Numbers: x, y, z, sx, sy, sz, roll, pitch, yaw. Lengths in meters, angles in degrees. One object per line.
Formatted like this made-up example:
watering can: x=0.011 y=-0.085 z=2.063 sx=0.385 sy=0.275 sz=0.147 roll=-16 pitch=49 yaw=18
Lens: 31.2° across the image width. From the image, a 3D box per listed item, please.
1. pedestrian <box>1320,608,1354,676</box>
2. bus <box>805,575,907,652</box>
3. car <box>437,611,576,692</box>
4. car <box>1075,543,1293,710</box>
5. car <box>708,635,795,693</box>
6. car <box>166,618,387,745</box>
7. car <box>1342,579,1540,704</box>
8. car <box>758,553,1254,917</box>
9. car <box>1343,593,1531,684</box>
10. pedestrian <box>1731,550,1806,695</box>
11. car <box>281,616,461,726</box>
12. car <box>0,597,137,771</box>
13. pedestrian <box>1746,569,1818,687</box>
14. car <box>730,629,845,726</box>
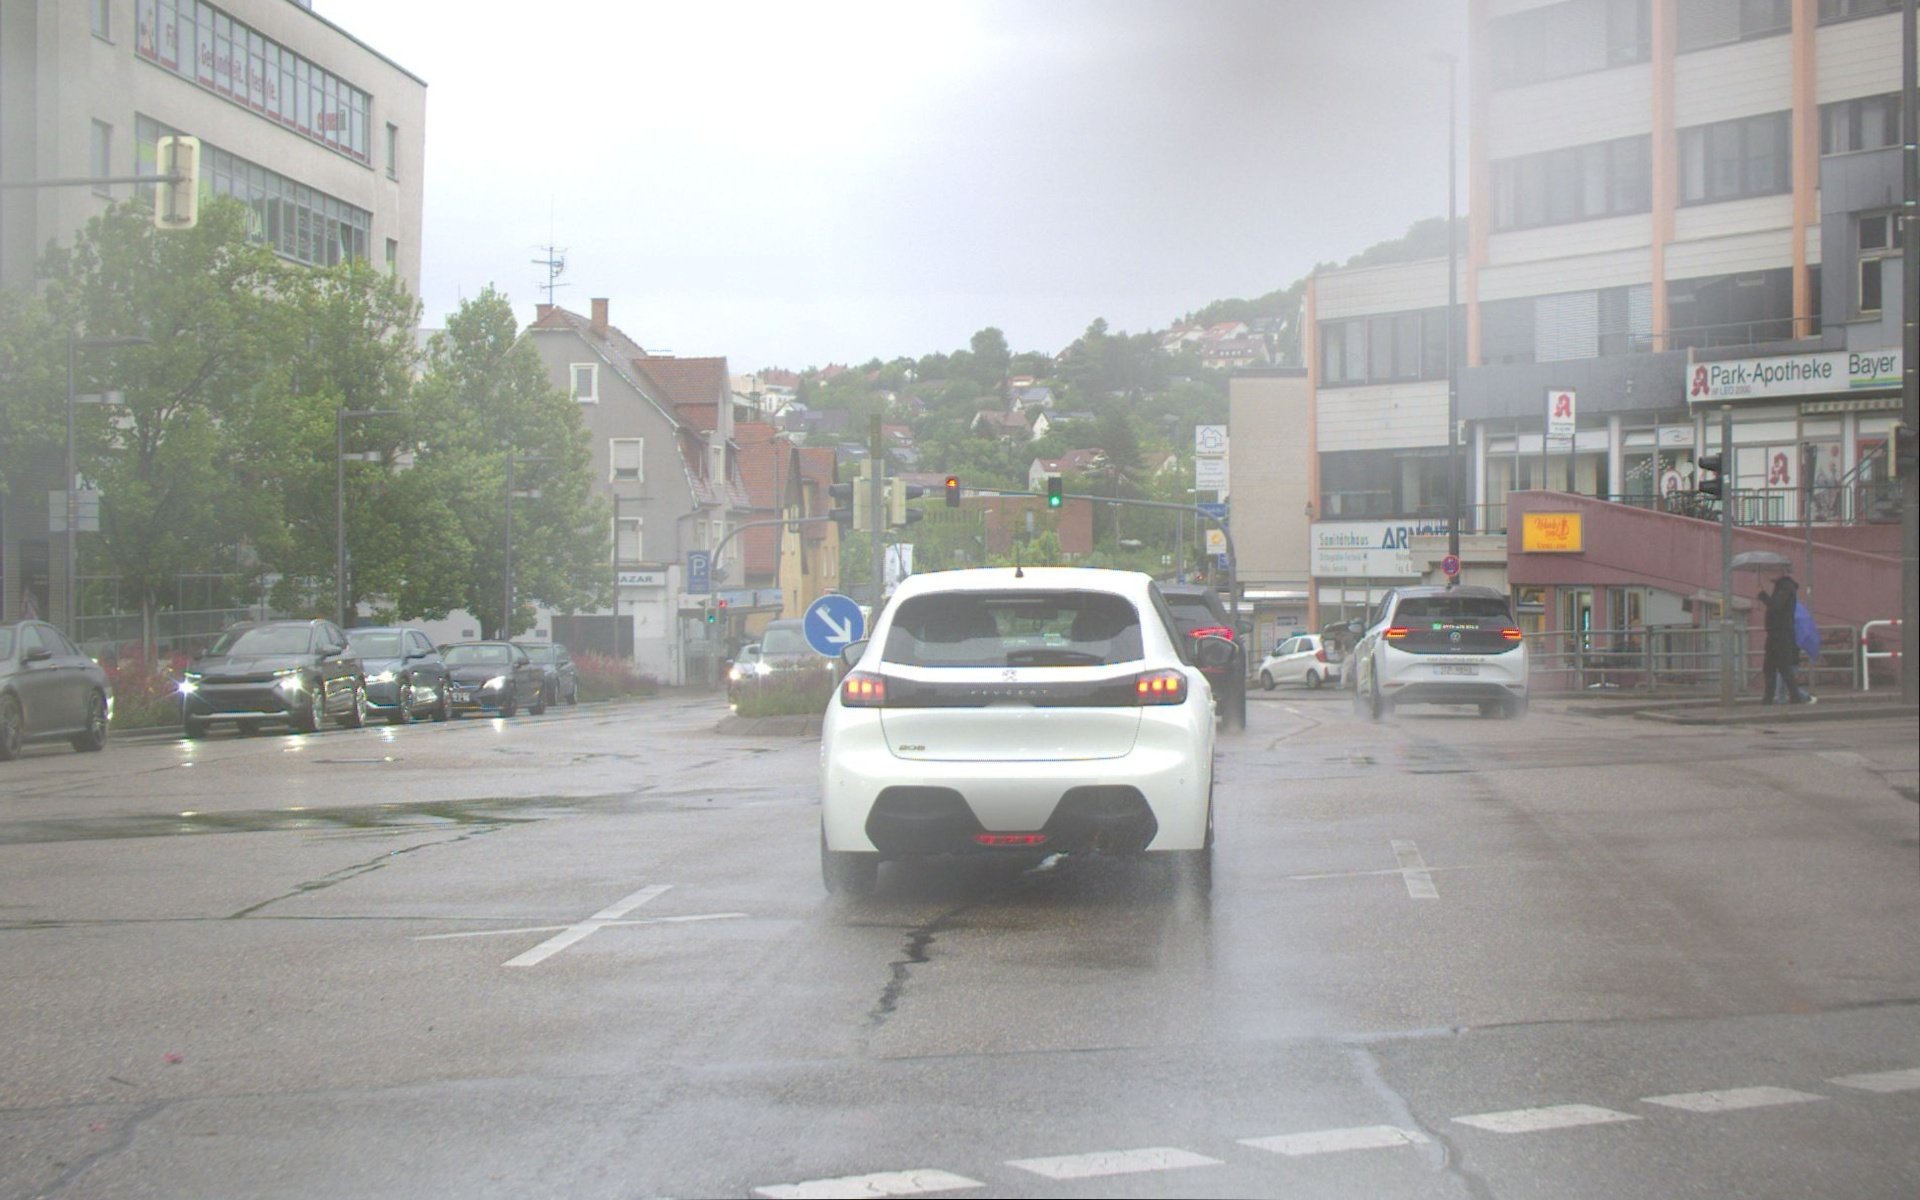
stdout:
pedestrian: x=10.085 y=1.119 z=91.997 sx=0.640 sy=1.816 sz=0.583 roll=-1 pitch=0 yaw=-29
bus: x=-3.931 y=0.478 z=132.255 sx=2.939 sy=2.774 sz=9.503 roll=-1 pitch=0 yaw=4
car: x=-8.230 y=0.923 z=62.696 sx=1.726 sy=1.383 sz=4.600 roll=-1 pitch=0 yaw=2
car: x=2.320 y=0.263 z=34.768 sx=1.816 sy=1.524 sz=3.811 roll=-3 pitch=-1 yaw=9
car: x=-5.289 y=1.621 z=87.592 sx=1.726 sy=1.383 sz=4.454 roll=-1 pitch=0 yaw=2
car: x=-9.705 y=1.120 z=49.151 sx=1.876 sy=1.588 sz=4.523 roll=-4 pitch=0 yaw=4
car: x=5.572 y=0.456 z=40.181 sx=1.911 sy=1.395 sz=3.457 roll=0 pitch=0 yaw=2
car: x=0.344 y=0.535 z=16.082 sx=1.872 sy=1.457 sz=3.872 roll=1 pitch=1 yaw=7
car: x=12.170 y=0.964 z=88.048 sx=1.994 sy=2.219 sz=4.976 roll=-1 pitch=0 yaw=-32
pedestrian: x=9.104 y=0.252 z=38.725 sx=0.708 sy=1.602 sz=0.655 roll=-2 pitch=-1 yaw=7
car: x=-9.593 y=1.124 z=56.356 sx=1.774 sy=1.588 sz=4.587 roll=-4 pitch=0 yaw=4
car: x=-10.151 y=0.810 z=35.523 sx=1.920 sy=1.626 sz=4.902 roll=0 pitch=1 yaw=2
pedestrian: x=9.429 y=0.320 z=39.446 sx=0.708 sy=1.341 sz=0.655 roll=-1 pitch=0 yaw=7
car: x=-3.489 y=1.612 z=70.319 sx=1.993 sy=1.817 sz=4.298 roll=-3 pitch=-2 yaw=1
